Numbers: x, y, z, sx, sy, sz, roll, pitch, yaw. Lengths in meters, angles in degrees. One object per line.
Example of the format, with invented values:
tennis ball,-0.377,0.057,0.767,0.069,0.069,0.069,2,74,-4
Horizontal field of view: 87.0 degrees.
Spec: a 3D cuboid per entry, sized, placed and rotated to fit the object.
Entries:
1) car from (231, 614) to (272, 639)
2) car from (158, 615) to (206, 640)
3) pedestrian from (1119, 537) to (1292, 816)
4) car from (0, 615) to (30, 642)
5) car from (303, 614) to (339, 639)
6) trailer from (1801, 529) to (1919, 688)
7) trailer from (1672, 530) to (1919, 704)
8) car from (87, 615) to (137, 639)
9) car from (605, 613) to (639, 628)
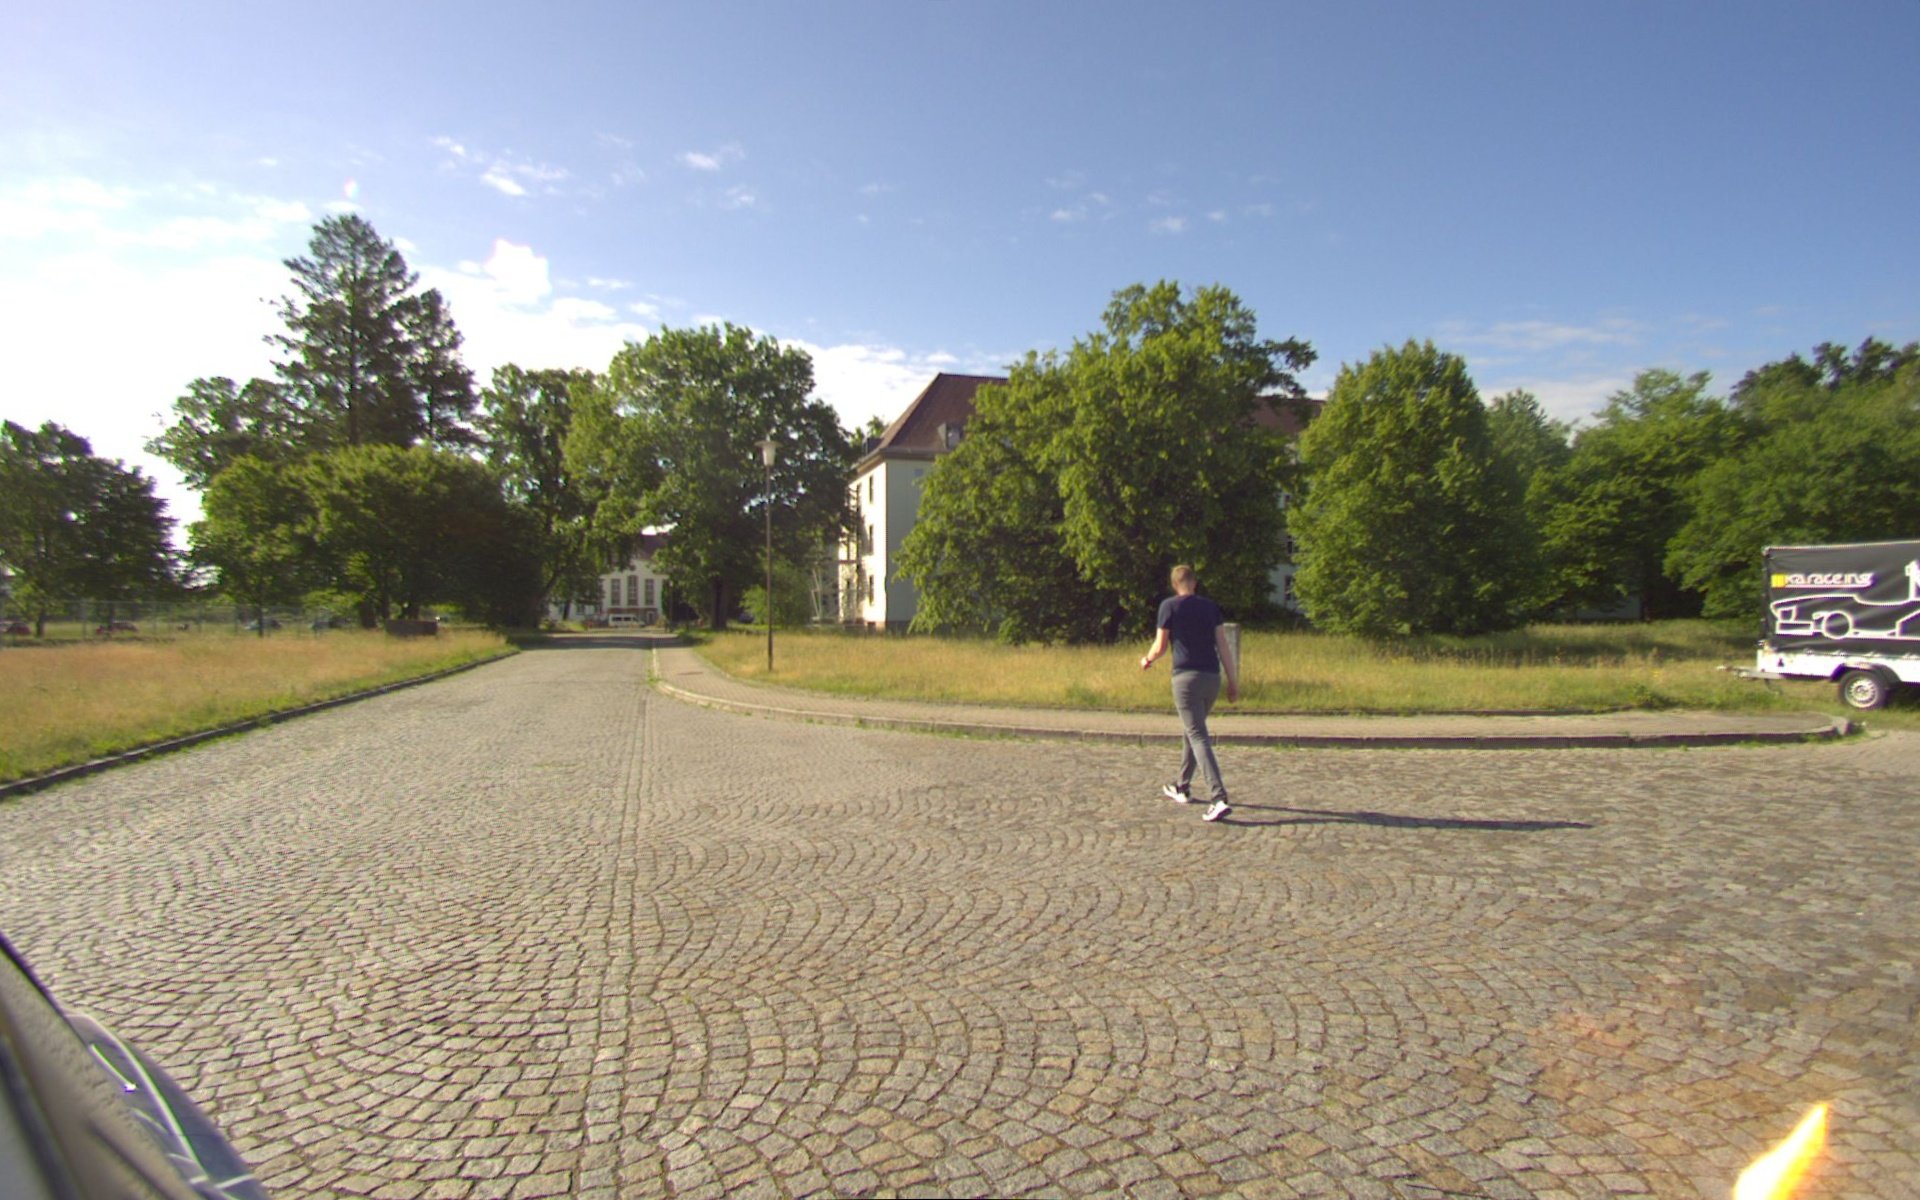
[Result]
car,-58.437,2.165,83.544,1.965,2.029,4.013,0,-1,-24
car,-63.526,2.238,82.652,1.965,2.029,4.013,0,-1,-20
pedestrian,1.820,0.536,7.657,0.786,1.929,1.146,0,-1,-16
car,-74.829,2.205,78.883,1.965,2.029,4.012,0,-1,-19
car,-53.494,2.182,84.808,1.965,2.029,4.013,0,-1,-24
trailer,15.734,0.133,14.869,1.909,2.409,4.871,0,0,-23
trailer,13.221,0.216,14.655,1.979,2.290,4.482,0,0,-17
car,-67.779,2.147,80.952,1.965,1.829,4.013,0,-1,-24
car,-50.414,3.045,151.223,4.790,2.111,2.006,0,-1,-17
